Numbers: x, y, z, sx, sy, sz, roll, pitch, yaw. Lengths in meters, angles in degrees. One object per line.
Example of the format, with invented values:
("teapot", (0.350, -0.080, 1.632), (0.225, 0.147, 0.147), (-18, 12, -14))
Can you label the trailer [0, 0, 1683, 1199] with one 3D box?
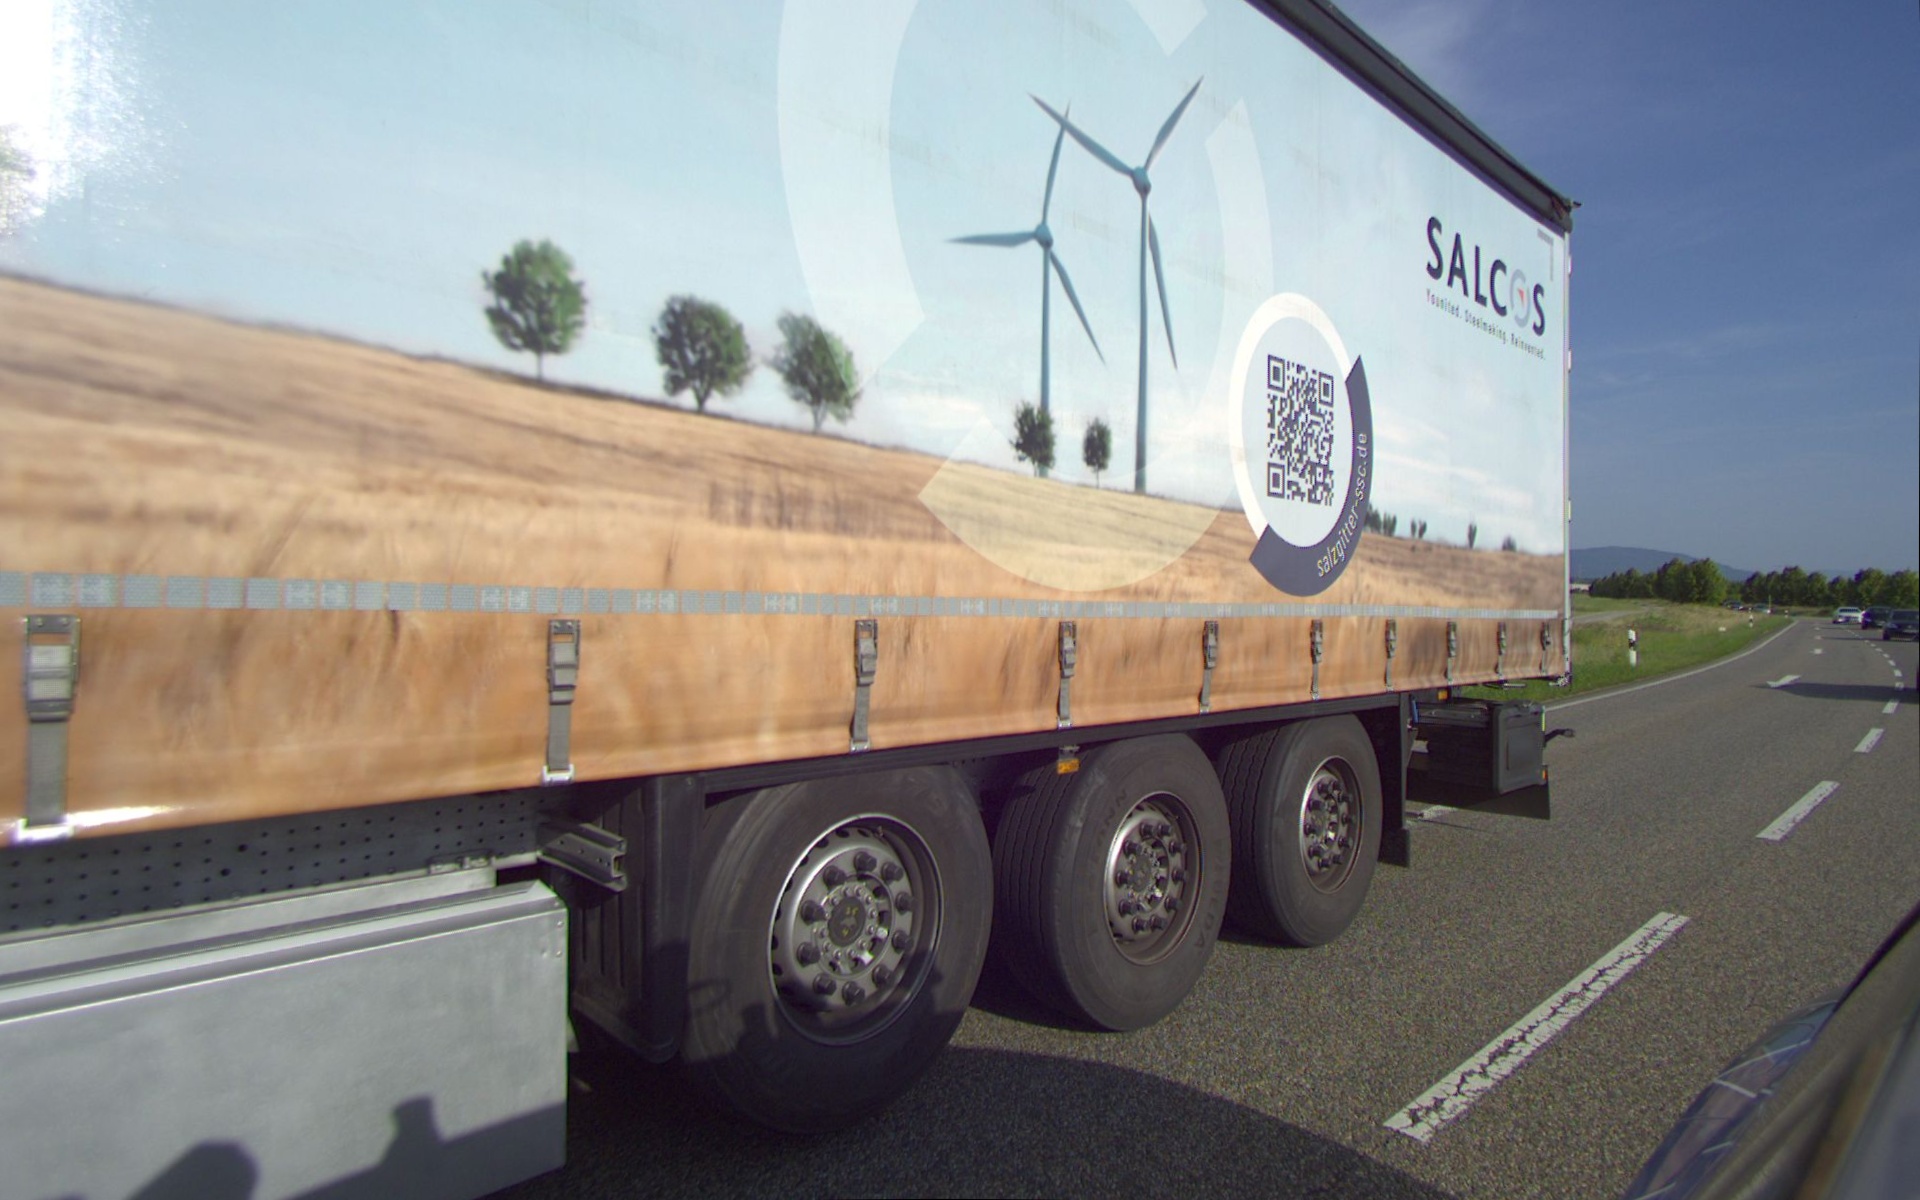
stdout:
("trailer", (-1.165, -0.969, 3.561), (12.920, 4.740, 3.286), (0, 0, -42))

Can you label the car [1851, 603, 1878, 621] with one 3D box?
("car", (76.514, 1.009, 85.601), (1.553, 1.417, 3.972), (2, 1, 43))

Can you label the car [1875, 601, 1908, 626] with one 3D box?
("car", (62.782, 0.873, 68.201), (1.553, 1.579, 3.001), (2, 1, 43))

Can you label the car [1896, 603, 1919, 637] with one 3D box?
("car", (44.728, 0.922, 47.180), (1.580, 1.523, 3.603), (2, 1, 43))
